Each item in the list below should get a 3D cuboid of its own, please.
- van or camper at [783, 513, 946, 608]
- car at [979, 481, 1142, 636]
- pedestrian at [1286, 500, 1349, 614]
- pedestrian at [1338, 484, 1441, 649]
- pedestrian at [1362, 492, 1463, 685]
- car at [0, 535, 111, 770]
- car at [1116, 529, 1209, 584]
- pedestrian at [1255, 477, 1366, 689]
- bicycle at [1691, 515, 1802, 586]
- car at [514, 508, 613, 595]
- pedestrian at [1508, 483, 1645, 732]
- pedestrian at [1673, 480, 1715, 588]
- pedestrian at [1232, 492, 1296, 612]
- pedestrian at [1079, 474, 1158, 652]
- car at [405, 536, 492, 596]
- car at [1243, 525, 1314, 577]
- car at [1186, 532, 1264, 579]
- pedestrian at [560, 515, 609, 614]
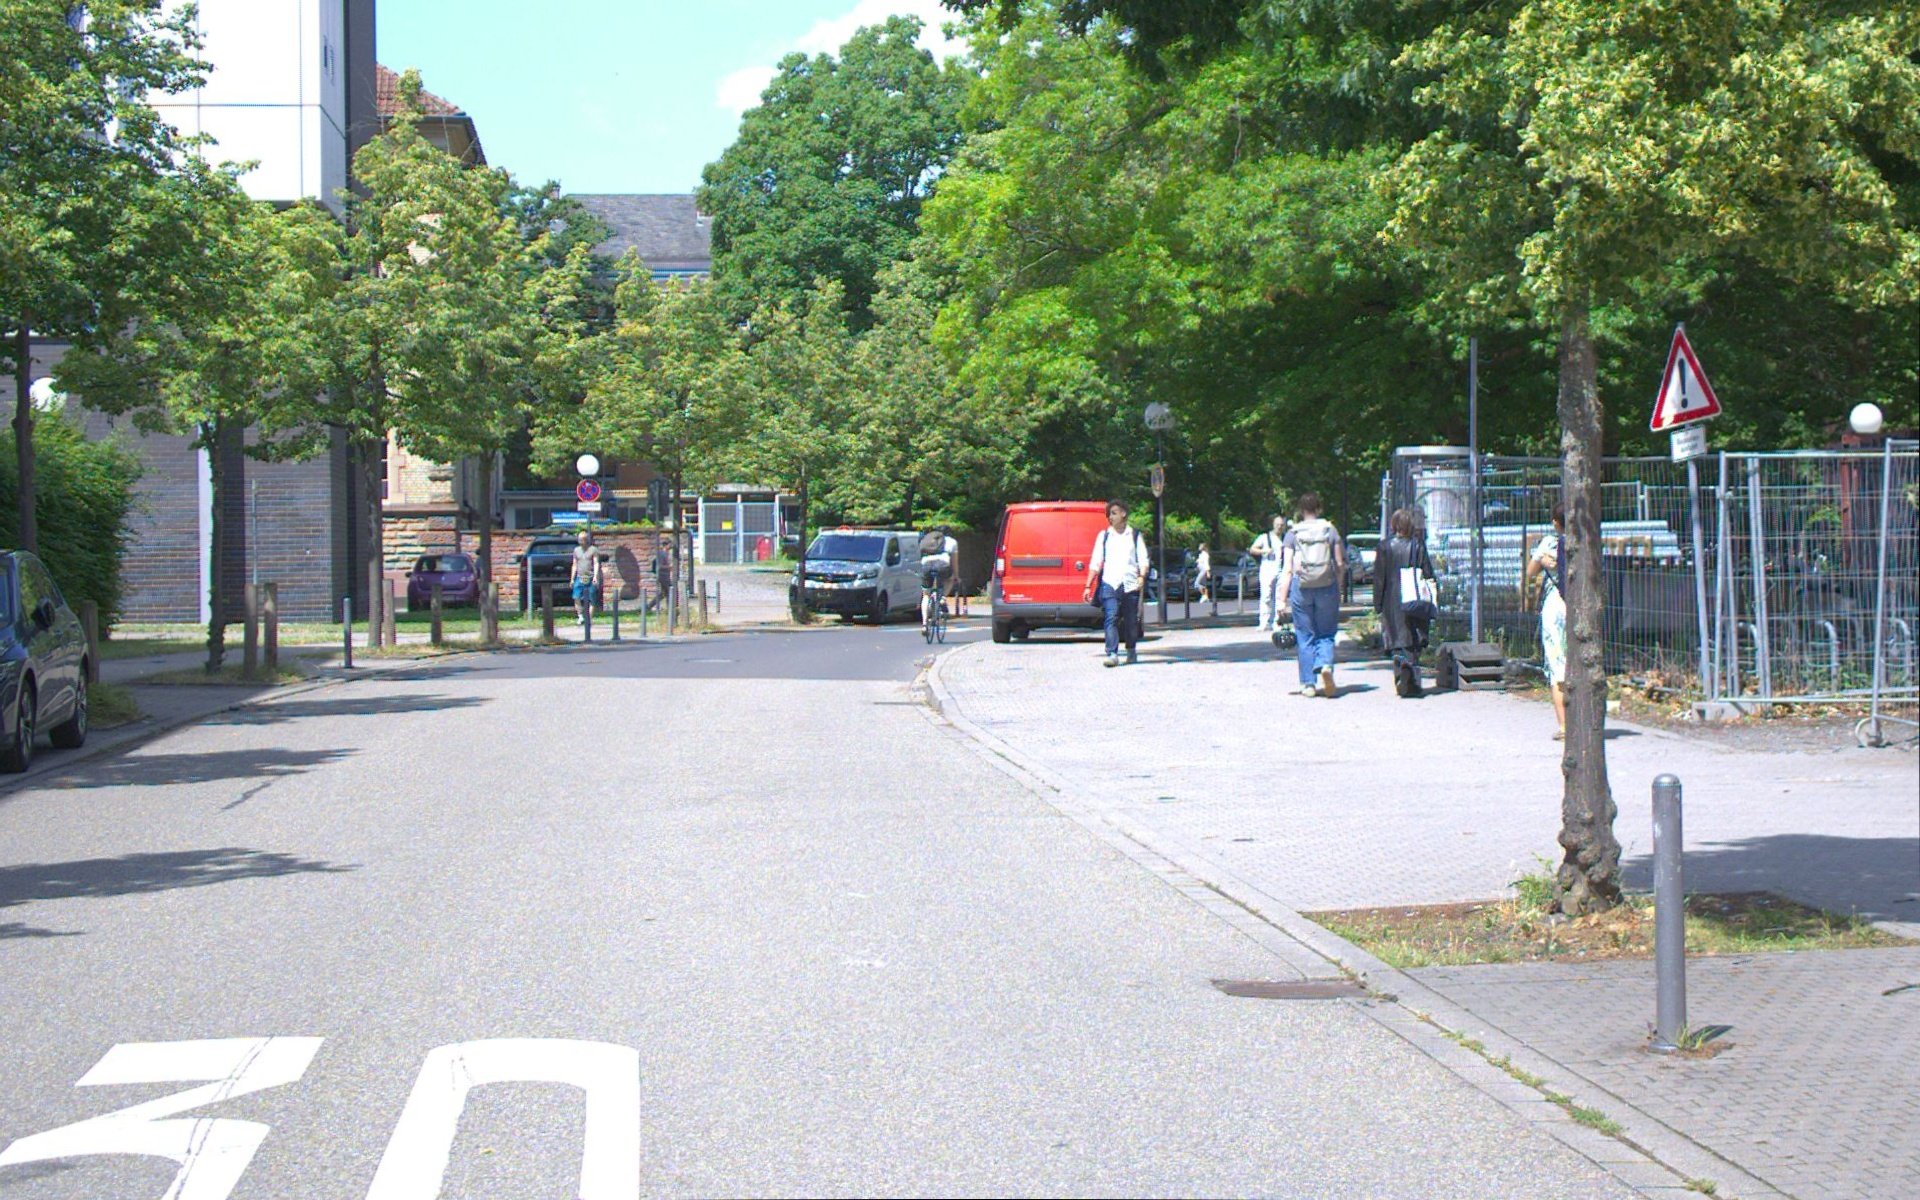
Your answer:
[{"bbox_3d":[-1.933,-0.852,71.733,1.955,1.916,5.416,0,1,15],"label":"van or camper"},{"bbox_3d":[1.379,-0.565,45.251,1.848,1.885,4.890,-1,1,5],"label":"car"},{"bbox_3d":[5.386,-0.651,51.835,0.743,1.704,0.564,-2,1,-41],"label":"pedestrian"},{"bbox_3d":[4.300,-0.340,34.437,0.712,1.626,0.711,-1,1,-28],"label":"pedestrian"},{"bbox_3d":[3.821,-0.106,29.085,0.668,1.594,0.985,-1,1,-1],"label":"pedestrian"},{"bbox_3d":[-6.959,0.286,23.445,1.777,1.456,4.260,0,1,-7],"label":"car"},{"bbox_3d":[5.753,-1.247,97.270,1.761,1.516,4.108,-1,1,16],"label":"car"},{"bbox_3d":[2.972,-0.153,29.189,0.850,1.758,0.716,-1,1,2],"label":"pedestrian"},{"bbox_3d":[11.172,-0.695,48.900,0.512,0.953,1.809,-3,1,-24],"label":"bicycle"},{"bbox_3d":[-9.189,-1.127,79.401,2.174,1.919,5.187,-1,1,-7],"label":"car"},{"bbox_3d":[4.225,0.040,23.605,0.649,1.660,0.905,-1,1,-8],"label":"pedestrian"},{"bbox_3d":[12.527,-1.121,58.690,0.543,1.831,0.762,-1,1,1],"label":"pedestrian"},{"bbox_3d":[4.662,-0.732,52.662,0.721,1.815,0.630,-2,1,-41],"label":"pedestrian"},{"bbox_3d":[1.617,-0.382,34.933,0.695,1.775,0.787,-1,1,7],"label":"pedestrian"},{"bbox_3d":[-11.754,-0.803,79.151,1.817,1.319,3.769,-1,1,-6],"label":"car"},{"bbox_3d":[10.478,-1.625,112.880,1.617,1.673,3.997,-1,1,16],"label":"car"},{"bbox_3d":[8.073,-1.366,104.542,1.617,1.383,3.997,-1,1,16],"label":"car"},{"bbox_3d":[-6.779,-0.647,62.084,0.584,1.758,0.911,-1,1,12],"label":"pedestrian"}]
